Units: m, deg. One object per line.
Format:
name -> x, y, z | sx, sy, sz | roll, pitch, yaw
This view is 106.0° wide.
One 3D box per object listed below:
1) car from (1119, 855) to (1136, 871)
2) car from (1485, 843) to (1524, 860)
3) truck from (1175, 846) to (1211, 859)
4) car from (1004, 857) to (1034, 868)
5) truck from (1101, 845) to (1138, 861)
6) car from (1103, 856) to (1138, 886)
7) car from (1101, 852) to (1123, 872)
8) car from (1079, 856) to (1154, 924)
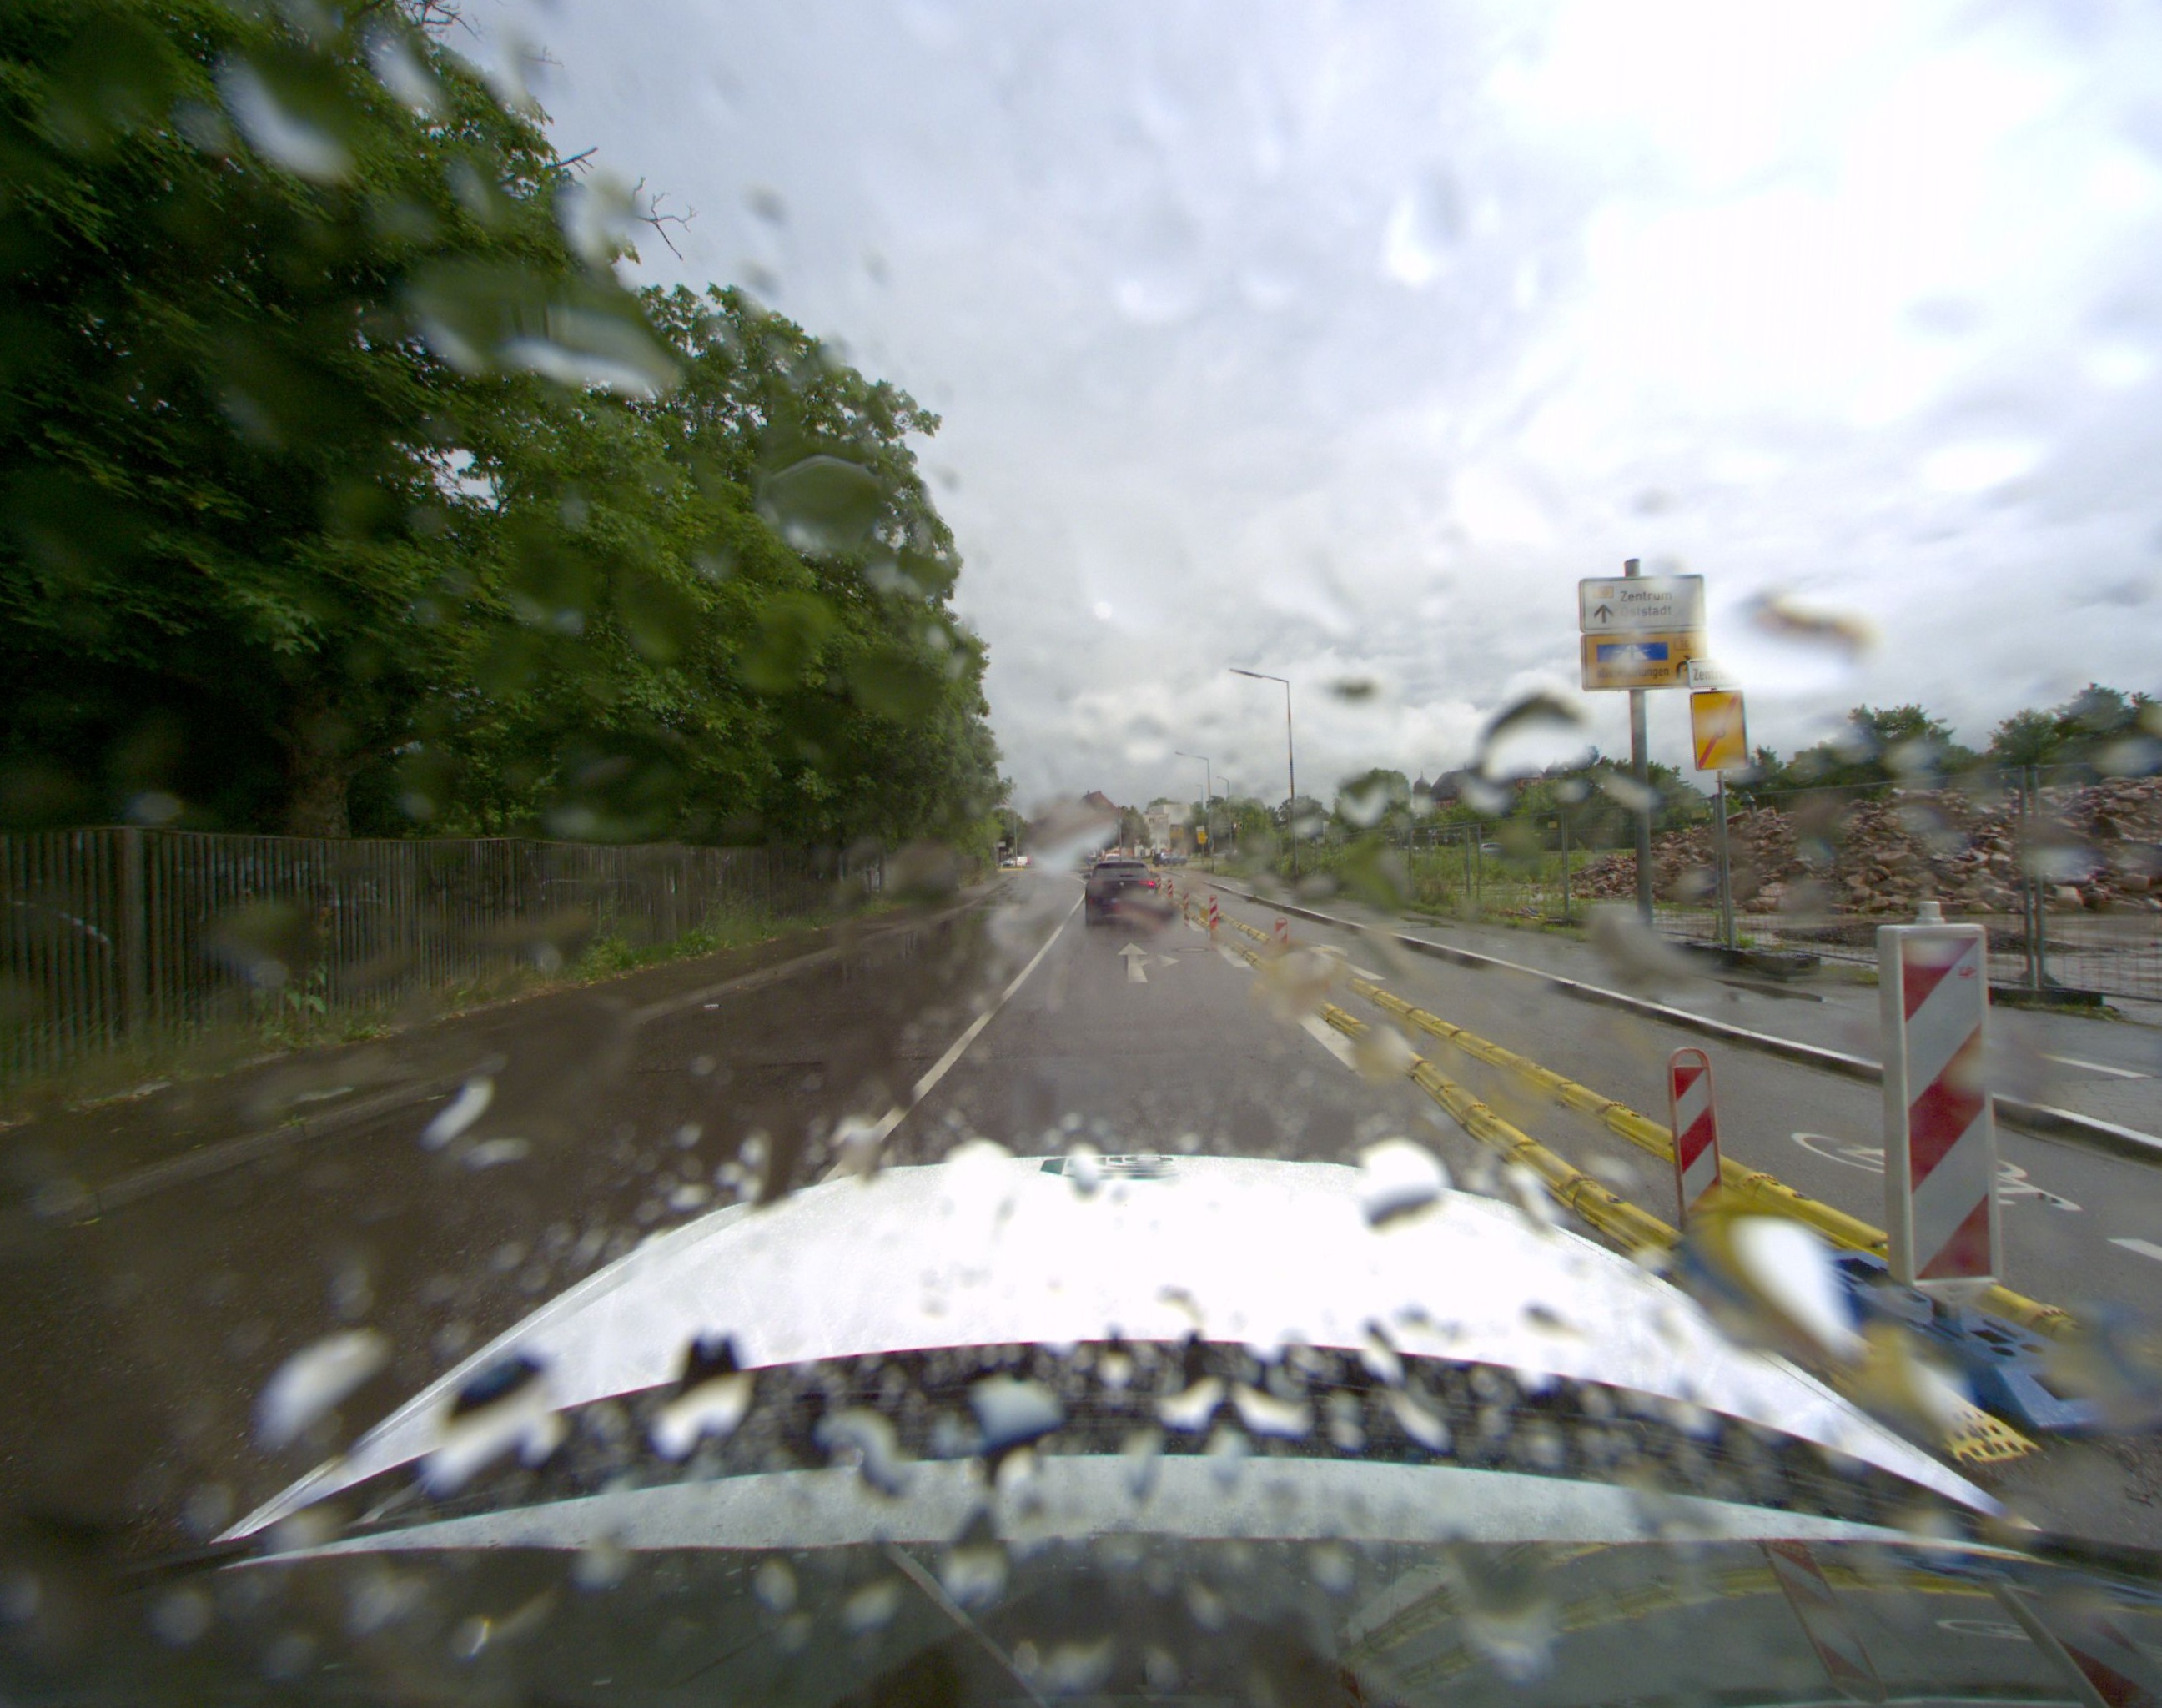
car -> 5.220, 0.992, 91.920 | 1.659, 1.644, 3.955 | -2, 0, 1
car -> 44.703, -0.263, 85.997 | 3.483, 1.546, 1.641 | -3, 0, 35
truck -> 22.088, -0.313, 161.131 | 6.648, 2.442, 2.446 | -2, 0, 18
car -> -11.370, 1.526, 149.067 | 5.151, 1.876, 1.875 | -2, 0, -32
truck -> 7.433, -0.192, 156.388 | 7.036, 2.650, 2.332 | -2, 0, 3
car -> 2.093, 0.906, 44.140 | 1.729, 1.514, 3.603 | -2, 0, 0
car -> 2.956, 0.712, 77.877 | 1.858, 1.809, 4.402 | -2, 0, -1
car -> 0.839, 0.862, 21.156 | 1.703, 1.574, 3.681 | -1, -1, -1
